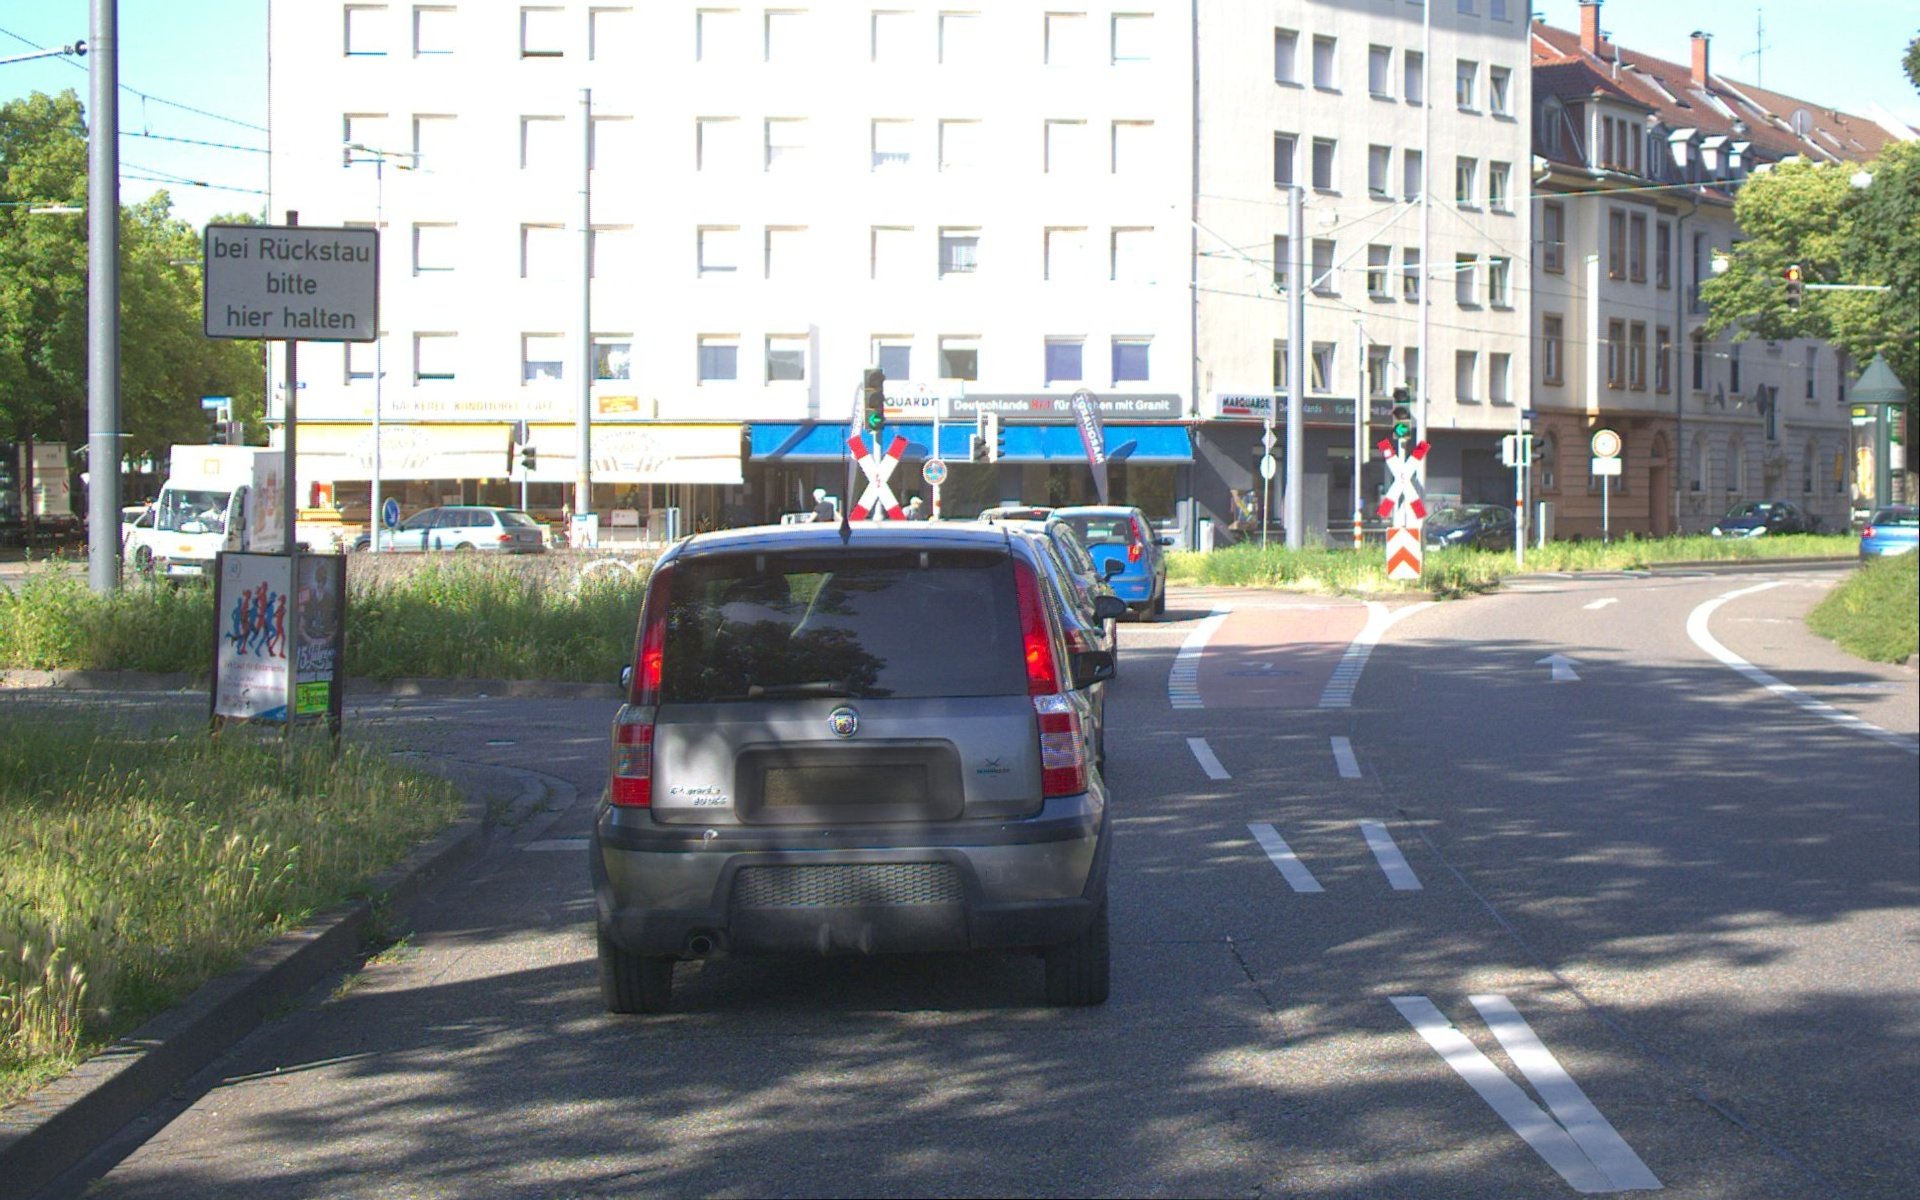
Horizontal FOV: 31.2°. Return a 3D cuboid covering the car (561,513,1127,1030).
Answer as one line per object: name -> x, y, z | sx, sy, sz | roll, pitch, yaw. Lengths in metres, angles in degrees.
car -> -0.340, 0.464, 11.727 | 1.660, 1.505, 3.252 | 0, 2, 0

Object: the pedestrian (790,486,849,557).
pedestrian -> -2.900, -1.619, 70.935 | 0.774, 1.423, 0.938 | 1, 1, -44

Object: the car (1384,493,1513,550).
car -> 12.367, -1.992, 86.936 | 1.794, 1.391, 3.718 | 1, 2, 34

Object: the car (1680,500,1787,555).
car -> 22.570, -2.115, 100.250 | 1.794, 1.560, 3.759 | 1, 2, 34

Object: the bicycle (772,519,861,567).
bicycle -> -2.960, -1.182, 70.980 | 0.783, 0.948, 1.855 | 1, 1, -44

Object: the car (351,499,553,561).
car -> -10.885, -1.507, 73.598 | 3.995, 1.238, 1.996 | 2, 2, 34

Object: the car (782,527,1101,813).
car -> -0.110, 0.320, 19.369 | 1.621, 1.424, 3.689 | 0, 2, 0

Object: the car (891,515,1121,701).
car -> 0.471, 0.008, 29.999 | 1.760, 1.481, 4.293 | 0, 2, 4

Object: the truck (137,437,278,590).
truck -> -12.330, -1.426, 56.528 | 1.787, 2.418, 4.111 | 0, 2, -6

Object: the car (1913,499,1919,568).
car -> 22.524, -1.492, 75.852 | 1.823, 1.503, 3.993 | 1, 2, 32

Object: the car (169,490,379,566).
car -> -13.416, -1.421, 67.098 | 4.398, 1.443, 1.664 | 2, 2, 41

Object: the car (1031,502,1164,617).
car -> 1.787, -0.557, 44.650 | 1.646, 1.433, 3.396 | 0, 2, 2

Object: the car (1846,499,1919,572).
car -> 19.898, -1.363, 71.678 | 1.778, 1.437, 3.612 | 2, 3, 31

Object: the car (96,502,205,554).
car -> -20.864, -1.873, 88.739 | 1.993, 1.305, 4.001 | 0, 2, -2
